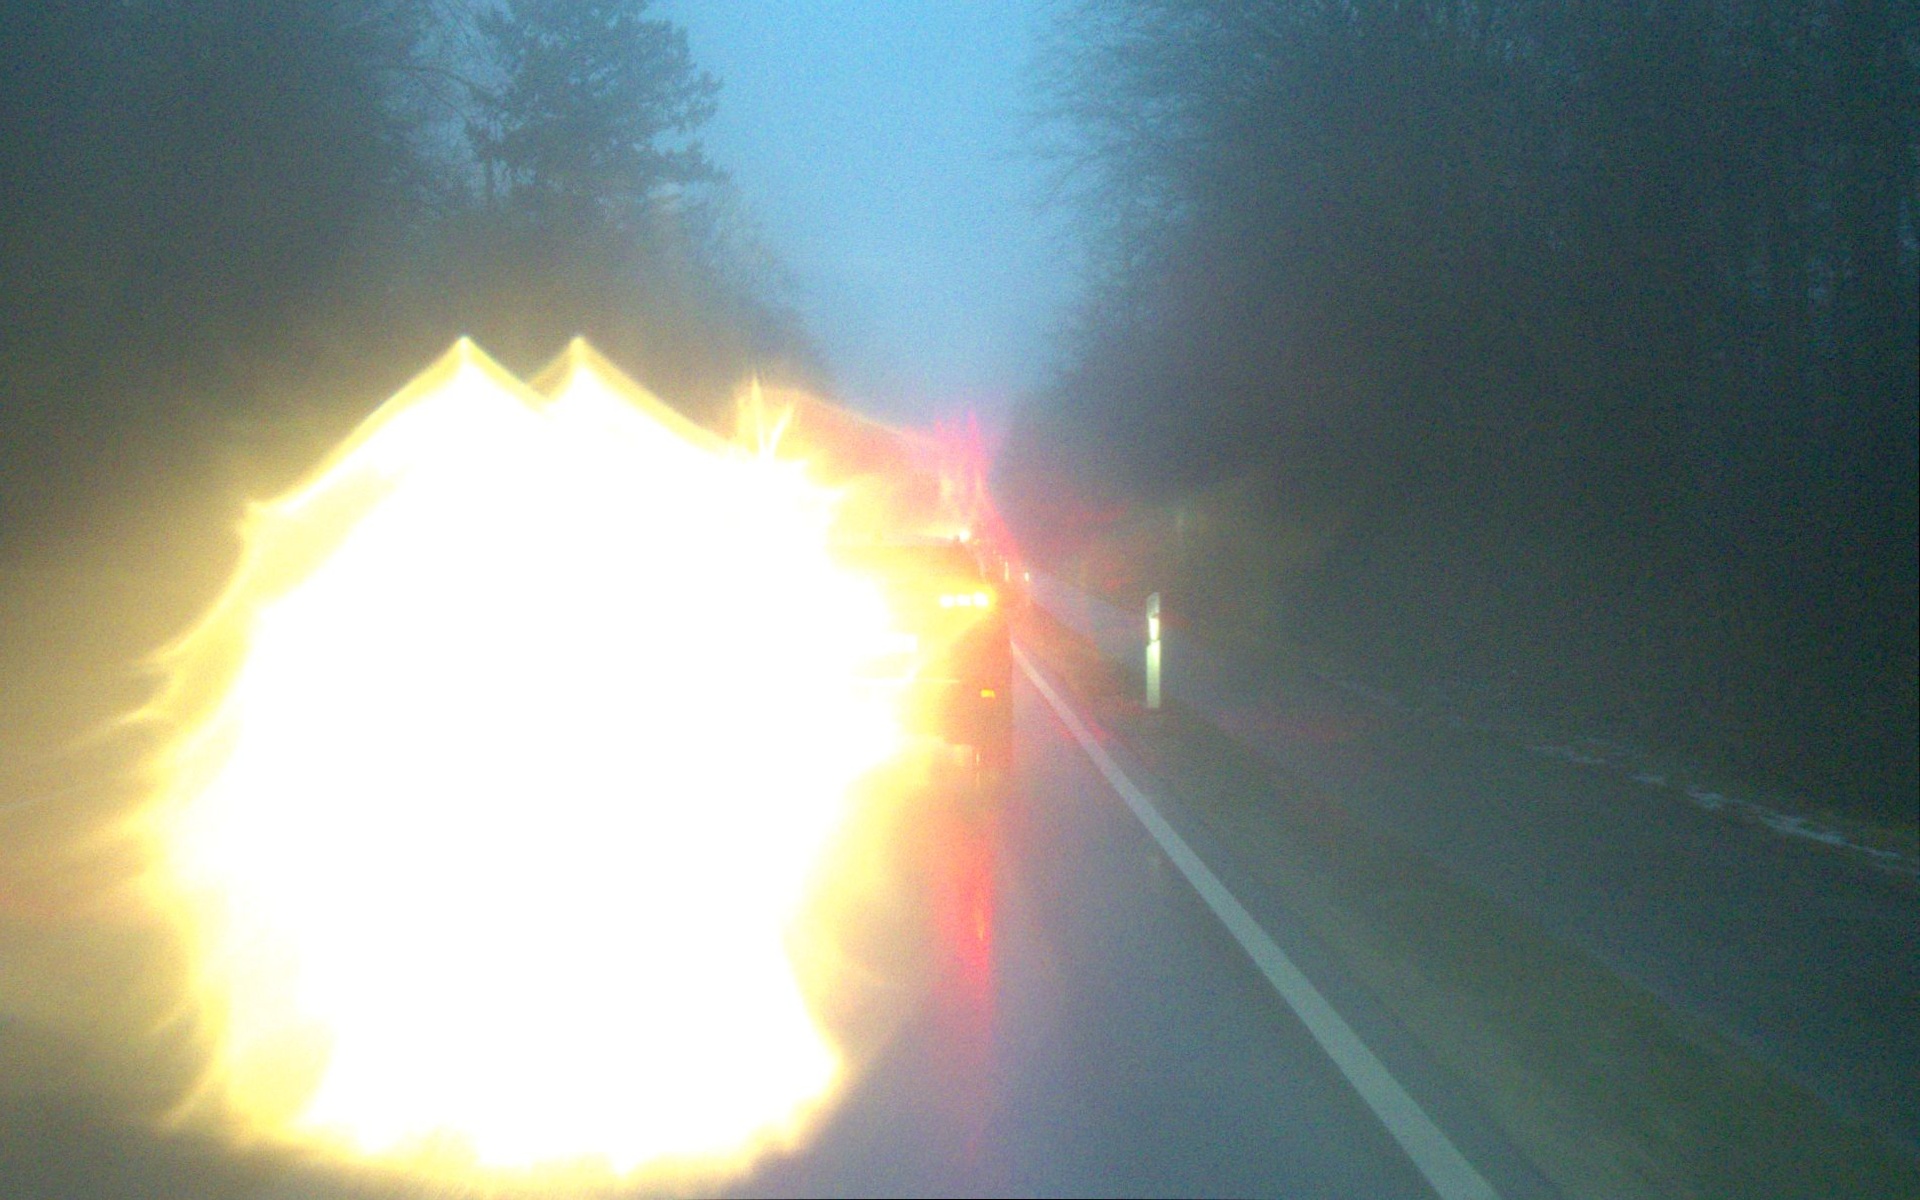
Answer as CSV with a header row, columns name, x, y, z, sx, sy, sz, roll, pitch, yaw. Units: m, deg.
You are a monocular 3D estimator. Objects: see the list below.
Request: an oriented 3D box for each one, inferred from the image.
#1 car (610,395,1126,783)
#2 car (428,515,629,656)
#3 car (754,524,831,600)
name,x,y,z,sx,sy,sz,roll,pitch,yaw
car,-0.572,-0.123,24.704,3.183,2.378,6.636,1,1,0
car,-4.820,-0.194,38.817,1.754,1.453,3.637,-2,1,0
car,-4.344,-0.999,89.750,1.797,1.875,4.425,-2,1,-1
